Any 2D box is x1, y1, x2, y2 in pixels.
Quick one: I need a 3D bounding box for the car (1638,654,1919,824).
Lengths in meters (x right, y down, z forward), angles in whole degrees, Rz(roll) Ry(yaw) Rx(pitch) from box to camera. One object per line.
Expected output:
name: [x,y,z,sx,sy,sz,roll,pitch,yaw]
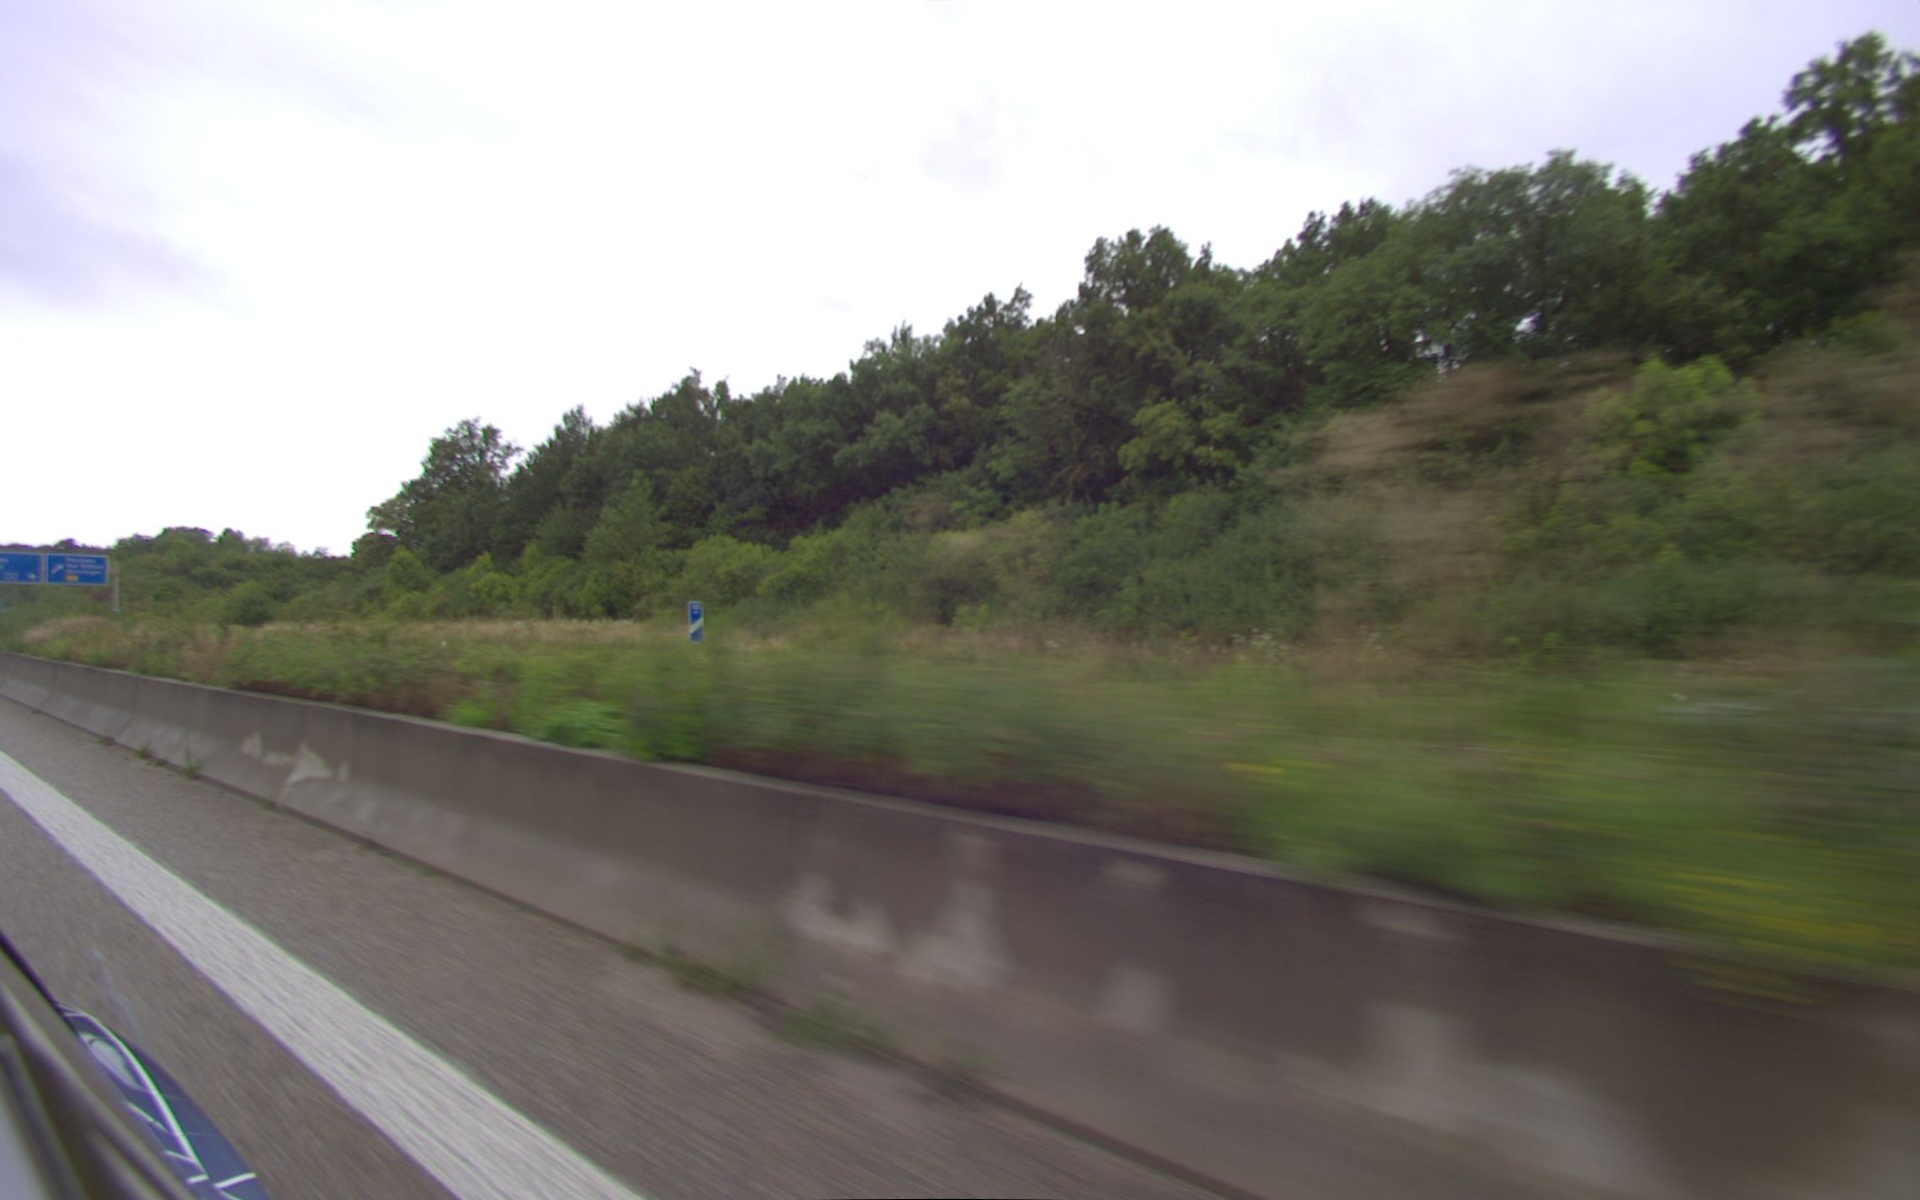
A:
car: [9.935,1.461,11.054,4.000,1.644,1.624,-1,-3,43]
